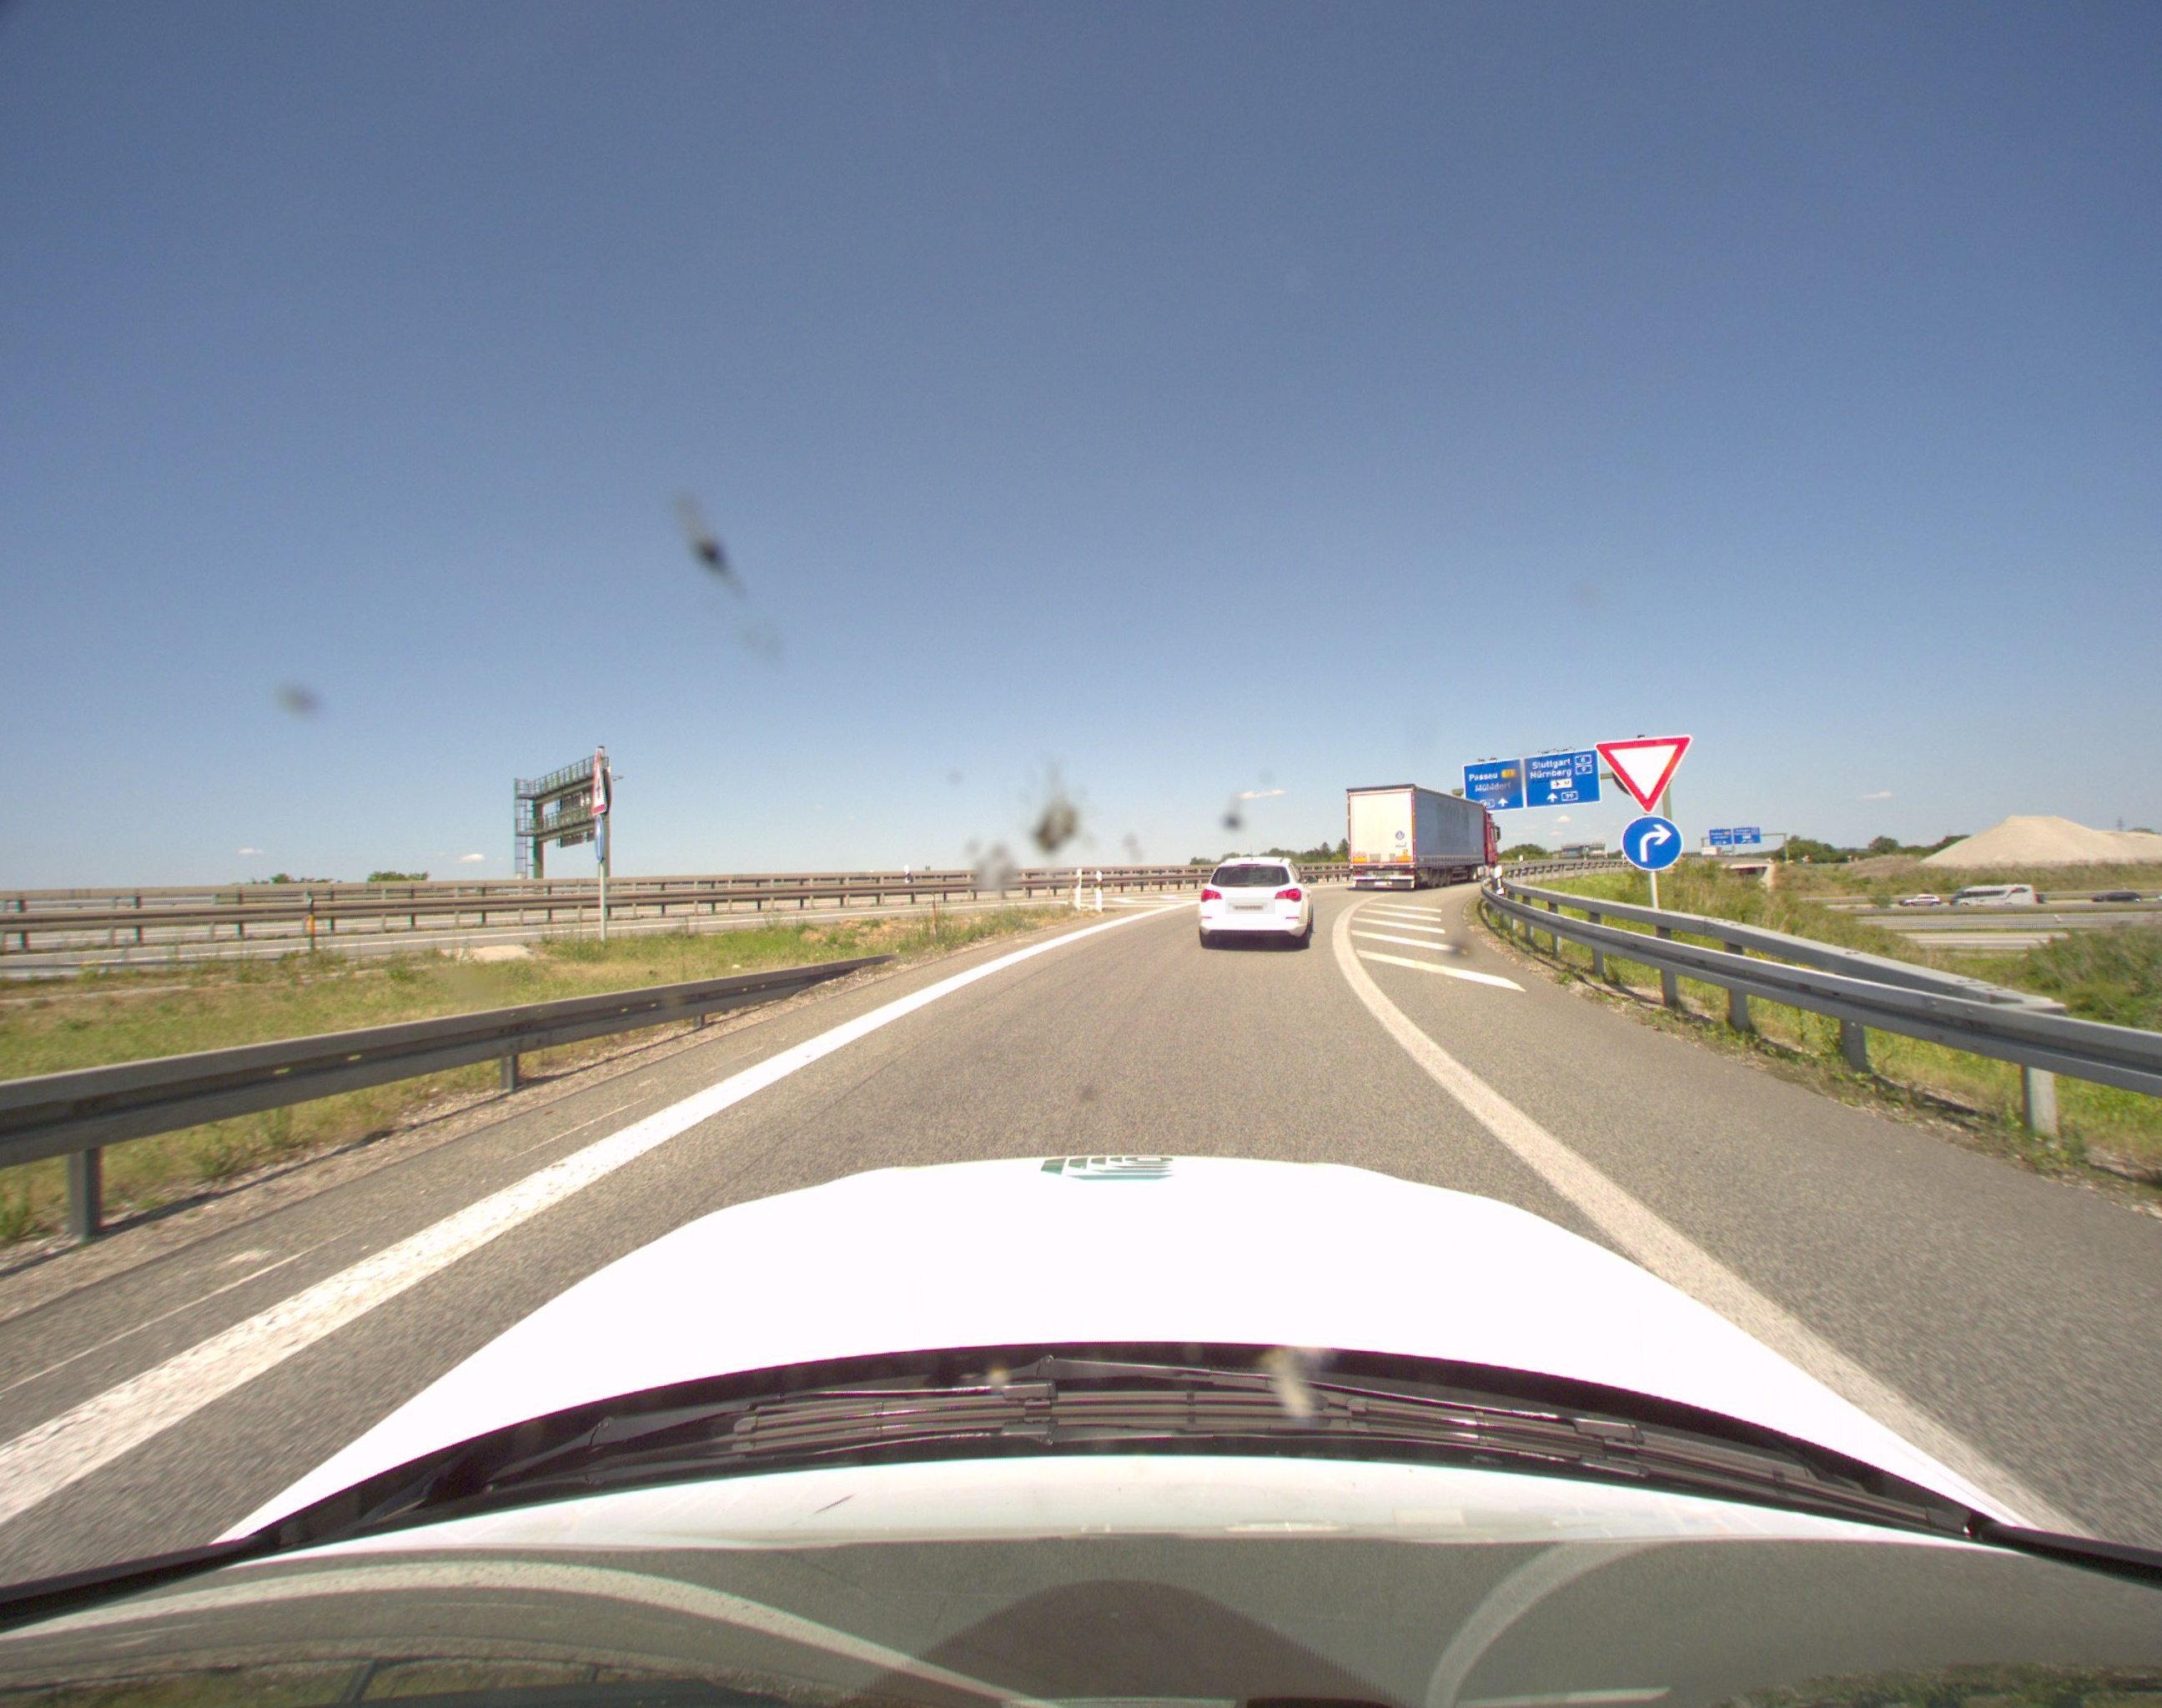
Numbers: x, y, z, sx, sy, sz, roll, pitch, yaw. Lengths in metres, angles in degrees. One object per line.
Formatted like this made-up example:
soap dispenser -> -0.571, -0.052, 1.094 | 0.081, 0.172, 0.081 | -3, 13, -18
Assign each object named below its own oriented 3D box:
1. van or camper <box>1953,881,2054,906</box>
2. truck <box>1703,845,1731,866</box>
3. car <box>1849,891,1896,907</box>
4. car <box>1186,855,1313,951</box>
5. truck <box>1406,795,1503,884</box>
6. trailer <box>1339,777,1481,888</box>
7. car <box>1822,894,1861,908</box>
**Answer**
van or camper -> 120.960, 5.274, 106.932 | 8.053, 2.996, 3.003 | -4, -6, 33
truck -> 130.889, 0.327, 167.555 | 3.506, 4.145, 11.325 | 0, -1, 43
car -> 102.393, 5.790, 105.451 | 3.949, 2.015, 1.888 | -1, -6, 29
car -> 3.176, 0.759, 14.644 | 1.840, 1.443, 4.391 | -1, 0, 17
truck -> 19.046, -0.566, 41.264 | 2.884, 4.146, 6.969 | -2, -3, 38
trailer -> 14.761, -0.642, 35.782 | 2.884, 4.146, 11.328 | -2, -2, 37
car -> 114.631, 7.142, 122.838 | 3.948, 2.014, 1.898 | -3, -5, 33
